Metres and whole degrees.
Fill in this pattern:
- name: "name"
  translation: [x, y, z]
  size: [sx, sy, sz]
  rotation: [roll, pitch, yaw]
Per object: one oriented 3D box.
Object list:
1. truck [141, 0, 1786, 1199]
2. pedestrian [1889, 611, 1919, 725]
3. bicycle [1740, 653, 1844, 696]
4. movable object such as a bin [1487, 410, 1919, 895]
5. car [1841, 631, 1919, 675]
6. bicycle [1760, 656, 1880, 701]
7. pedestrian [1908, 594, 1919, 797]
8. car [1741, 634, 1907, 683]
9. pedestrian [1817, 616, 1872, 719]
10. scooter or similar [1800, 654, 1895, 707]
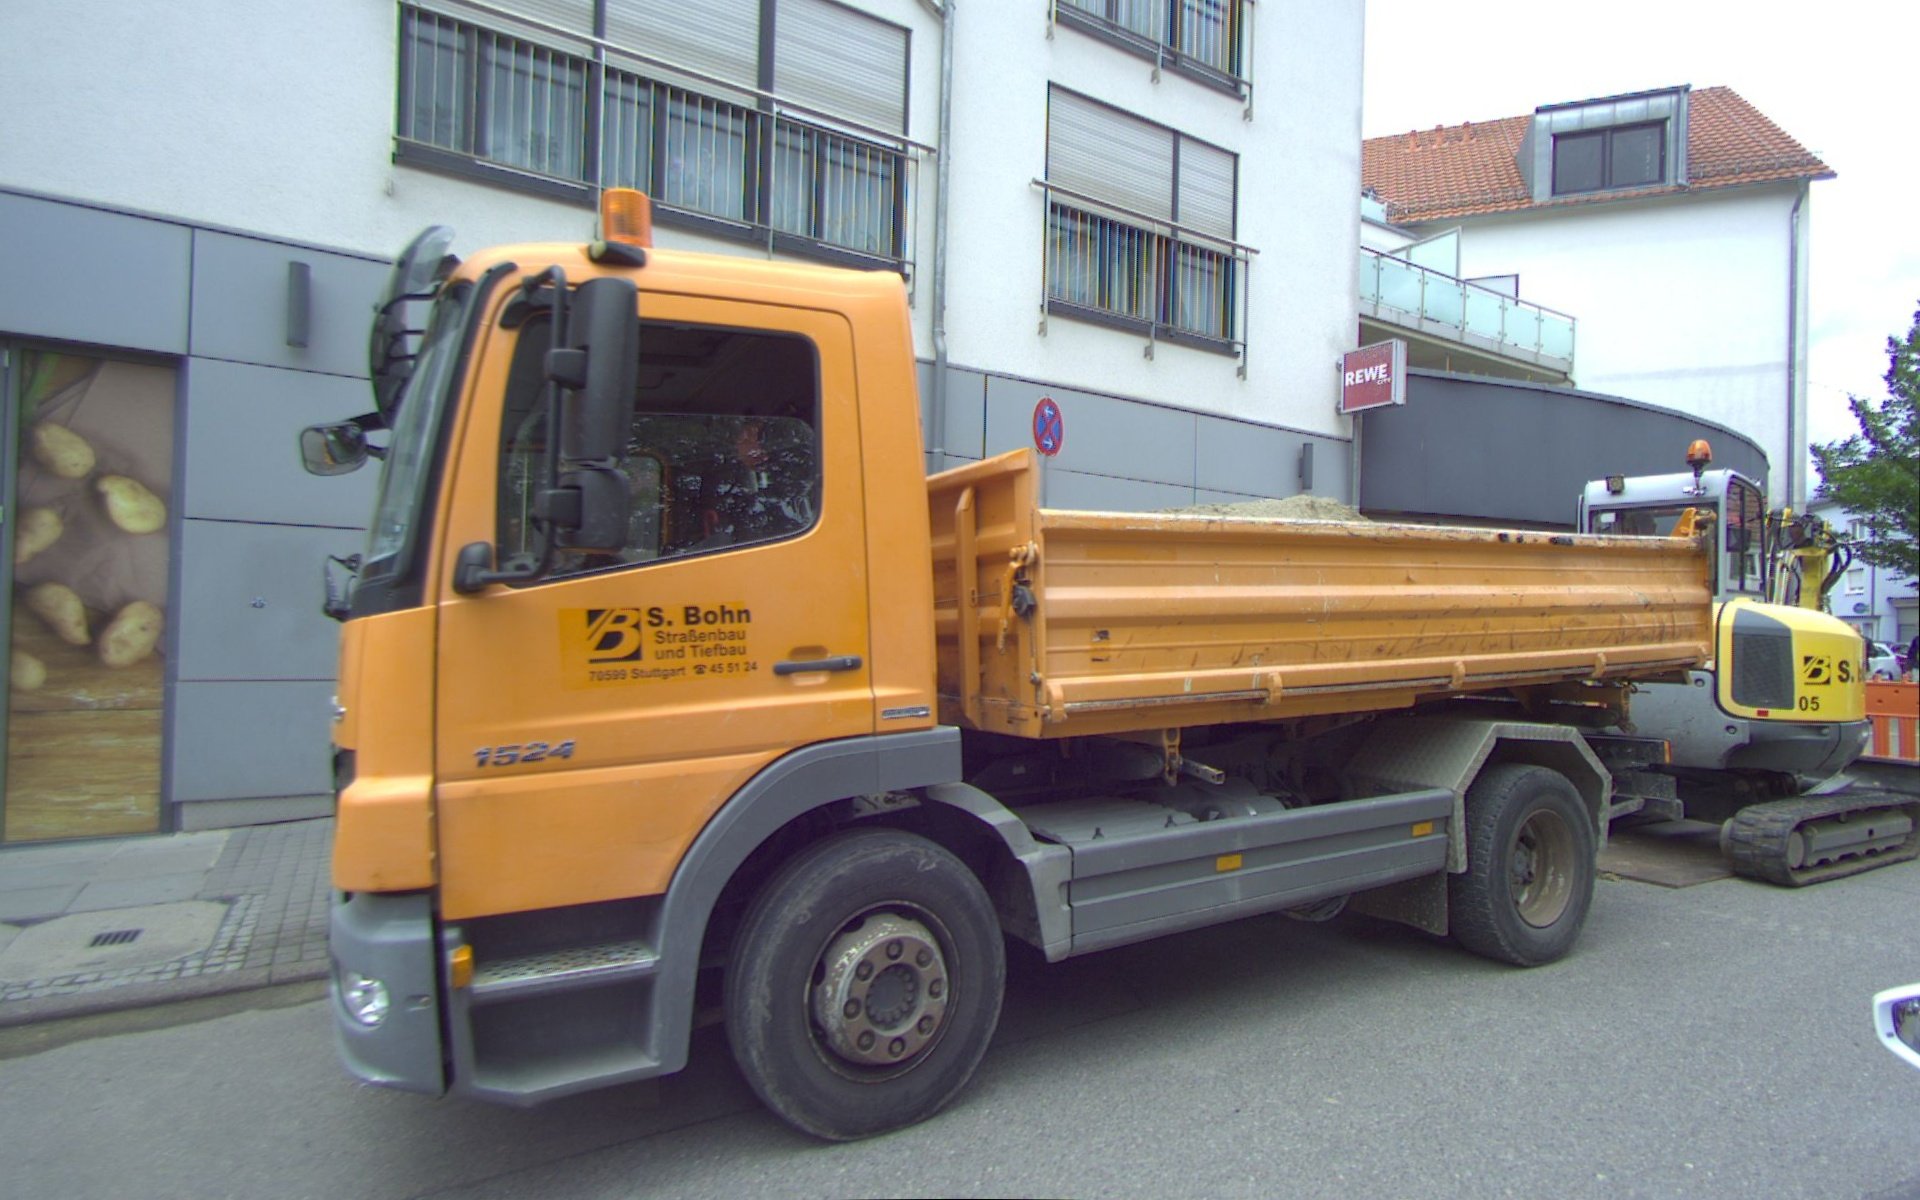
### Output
- name: "truck"
  translation: [0.722, 0.224, 4.819]
  size: [6.763, 2.761, 2.720]
  rotation: [1, -1, -29]
- name: "pedestrian"
  translation: [16.680, 1.167, 17.404]
  size: [0.805, 1.951, 0.781]
  rotation: [0, -1, 40]
- name: "bicycle"
  translation: [22.021, 1.963, 26.635]
  size: [1.922, 1.088, 0.812]
  rotation: [-1, -2, 21]
- name: "movable object such as a bin"
  translation: [6.298, 0.393, 7.641]
  size: [4.448, 2.800, 1.832]
  rotation: [2, -2, -27]
- name: "car"
  translation: [38.205, 2.132, 40.349]
  size: [1.980, 1.578, 4.922]
  rotation: [1, 0, 11]
- name: "bicycle"
  translation: [21.448, 1.959, 25.087]
  size: [2.109, 1.060, 0.751]
  rotation: [-2, -2, 18]
- name: "pedestrian"
  translation: [9.158, 0.866, 8.964]
  size: [0.733, 1.840, 0.812]
  rotation: [1, -1, -25]
- name: "car"
  translation: [31.252, 2.108, 36.437]
  size: [4.241, 1.661, 2.001]
  rotation: [1, -2, 3]
- name: "pedestrian"
  translation: [16.100, 1.208, 18.295]
  size: [0.682, 1.814, 0.716]
  rotation: [0, -1, 36]
- name: "scooter or similar"
  translation: [20.358, 1.840, 23.069]
  size: [1.502, 1.138, 0.597]
  rotation: [0, -1, 19]
